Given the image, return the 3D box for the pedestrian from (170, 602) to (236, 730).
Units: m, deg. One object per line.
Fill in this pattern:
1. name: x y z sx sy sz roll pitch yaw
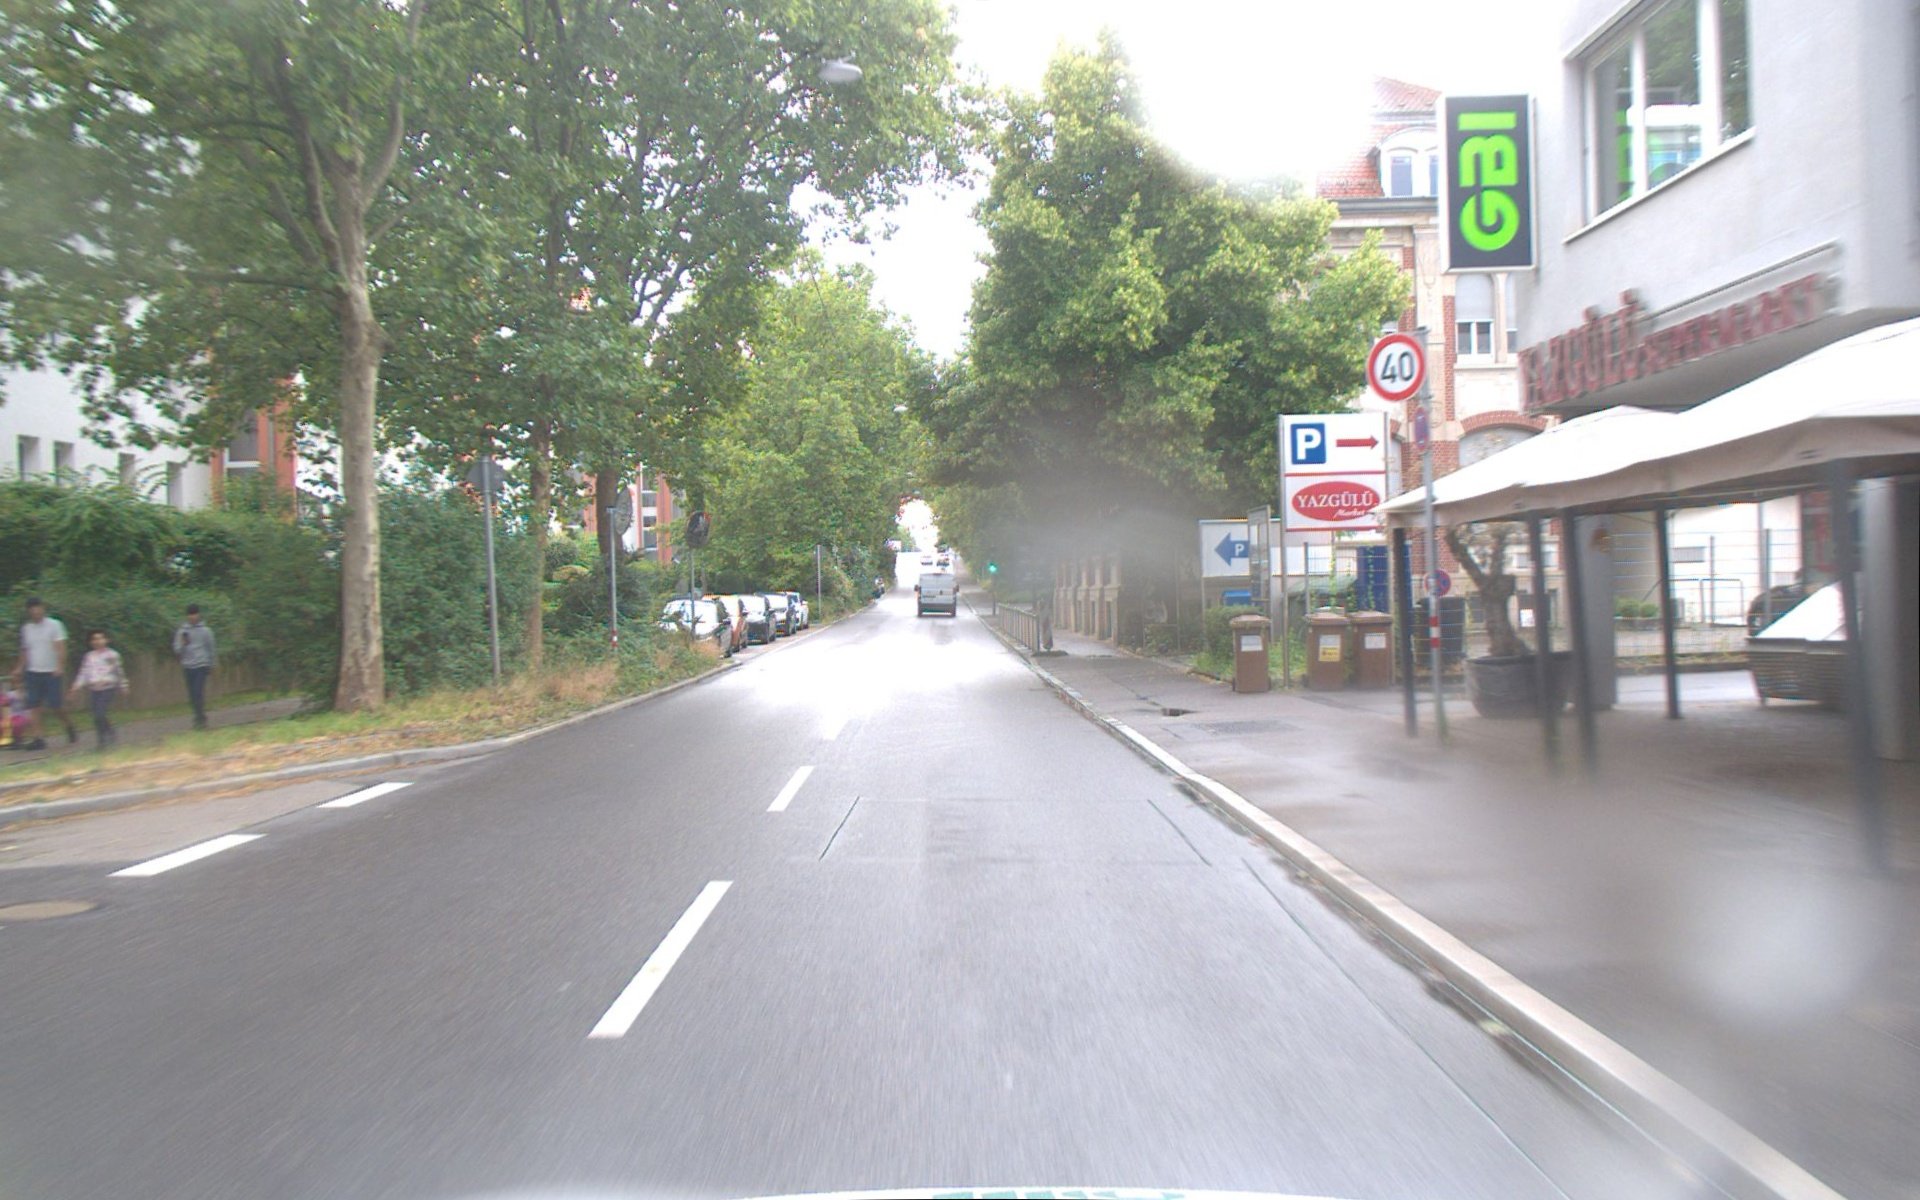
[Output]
1. pedestrian: -10.075 0.870 22.019 0.583 1.659 0.590 -2 0 -3

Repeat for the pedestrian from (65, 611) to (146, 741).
1. pedestrian: -9.623 0.845 18.634 0.583 1.421 0.590 -2 0 -3

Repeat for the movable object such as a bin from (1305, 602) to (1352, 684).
1. movable object such as a bin: 5.263 0.612 23.623 0.520 1.135 0.561 -2 0 1

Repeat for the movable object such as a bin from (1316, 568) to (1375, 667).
1. movable object such as a bin: 6.208 0.275 26.628 0.722 1.534 0.625 -2 0 -4

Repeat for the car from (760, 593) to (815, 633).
1. car: -6.762 0.488 65.183 1.681 1.493 4.309 -1 0 0

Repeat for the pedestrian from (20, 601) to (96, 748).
1. pedestrian: -10.475 0.852 19.212 0.529 1.659 0.590 -2 0 -3

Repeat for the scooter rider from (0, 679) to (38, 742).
1. scooter rider: -10.973 1.277 19.245 0.322 0.696 0.392 -2 0 -14

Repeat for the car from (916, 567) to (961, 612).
1. car: -1.085 -0.517 86.590 2.288 2.270 3.999 0 -1 0

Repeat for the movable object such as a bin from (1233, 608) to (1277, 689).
1. movable object such as a bin: 4.221 0.686 23.700 0.494 1.135 0.618 -2 0 -1

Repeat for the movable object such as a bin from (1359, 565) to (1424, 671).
1. movable object such as a bin: 6.449 0.267 24.735 0.722 1.534 0.625 -2 0 -4

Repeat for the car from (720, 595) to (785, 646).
1. car: -6.515 0.624 52.211 1.682 1.493 3.754 -1 0 -2

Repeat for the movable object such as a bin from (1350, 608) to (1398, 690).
1. movable object such as a bin: 5.932 0.698 23.707 0.494 1.135 0.618 -2 0 -1

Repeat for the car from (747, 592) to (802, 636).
1. car: -6.509 0.466 58.409 1.682 1.493 4.231 -1 0 -3

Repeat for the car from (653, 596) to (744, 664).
1. car: -6.429 0.688 41.124 1.682 1.536 4.802 -1 0 -3

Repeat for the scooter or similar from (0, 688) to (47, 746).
1. scooter or similar: -10.973 1.354 19.198 0.365 0.606 1.054 -2 0 -13

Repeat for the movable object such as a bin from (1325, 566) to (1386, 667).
1. movable object such as a bin: 6.213 0.257 25.983 0.722 1.534 0.625 -2 0 -4

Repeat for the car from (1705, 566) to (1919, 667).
1. car: 13.977 0.237 27.093 1.629 1.512 4.133 -1 0 0

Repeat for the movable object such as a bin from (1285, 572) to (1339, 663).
1. movable object such as a bin: 6.075 0.299 28.564 0.722 1.527 0.625 -2 0 -4

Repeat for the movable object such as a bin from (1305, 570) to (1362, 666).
1. movable object such as a bin: 6.157 0.291 27.273 0.722 1.534 0.625 -2 0 -4

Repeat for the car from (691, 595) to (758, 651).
1. car: -6.638 0.633 46.891 1.524 1.493 3.395 -1 0 -2

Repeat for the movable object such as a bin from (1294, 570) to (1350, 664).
1. movable object such as a bin: 6.103 0.281 27.930 0.722 1.534 0.625 -2 0 -4

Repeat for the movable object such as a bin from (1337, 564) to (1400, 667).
1. movable object such as a bin: 6.252 0.236 25.337 0.722 1.534 0.625 -2 0 -4
